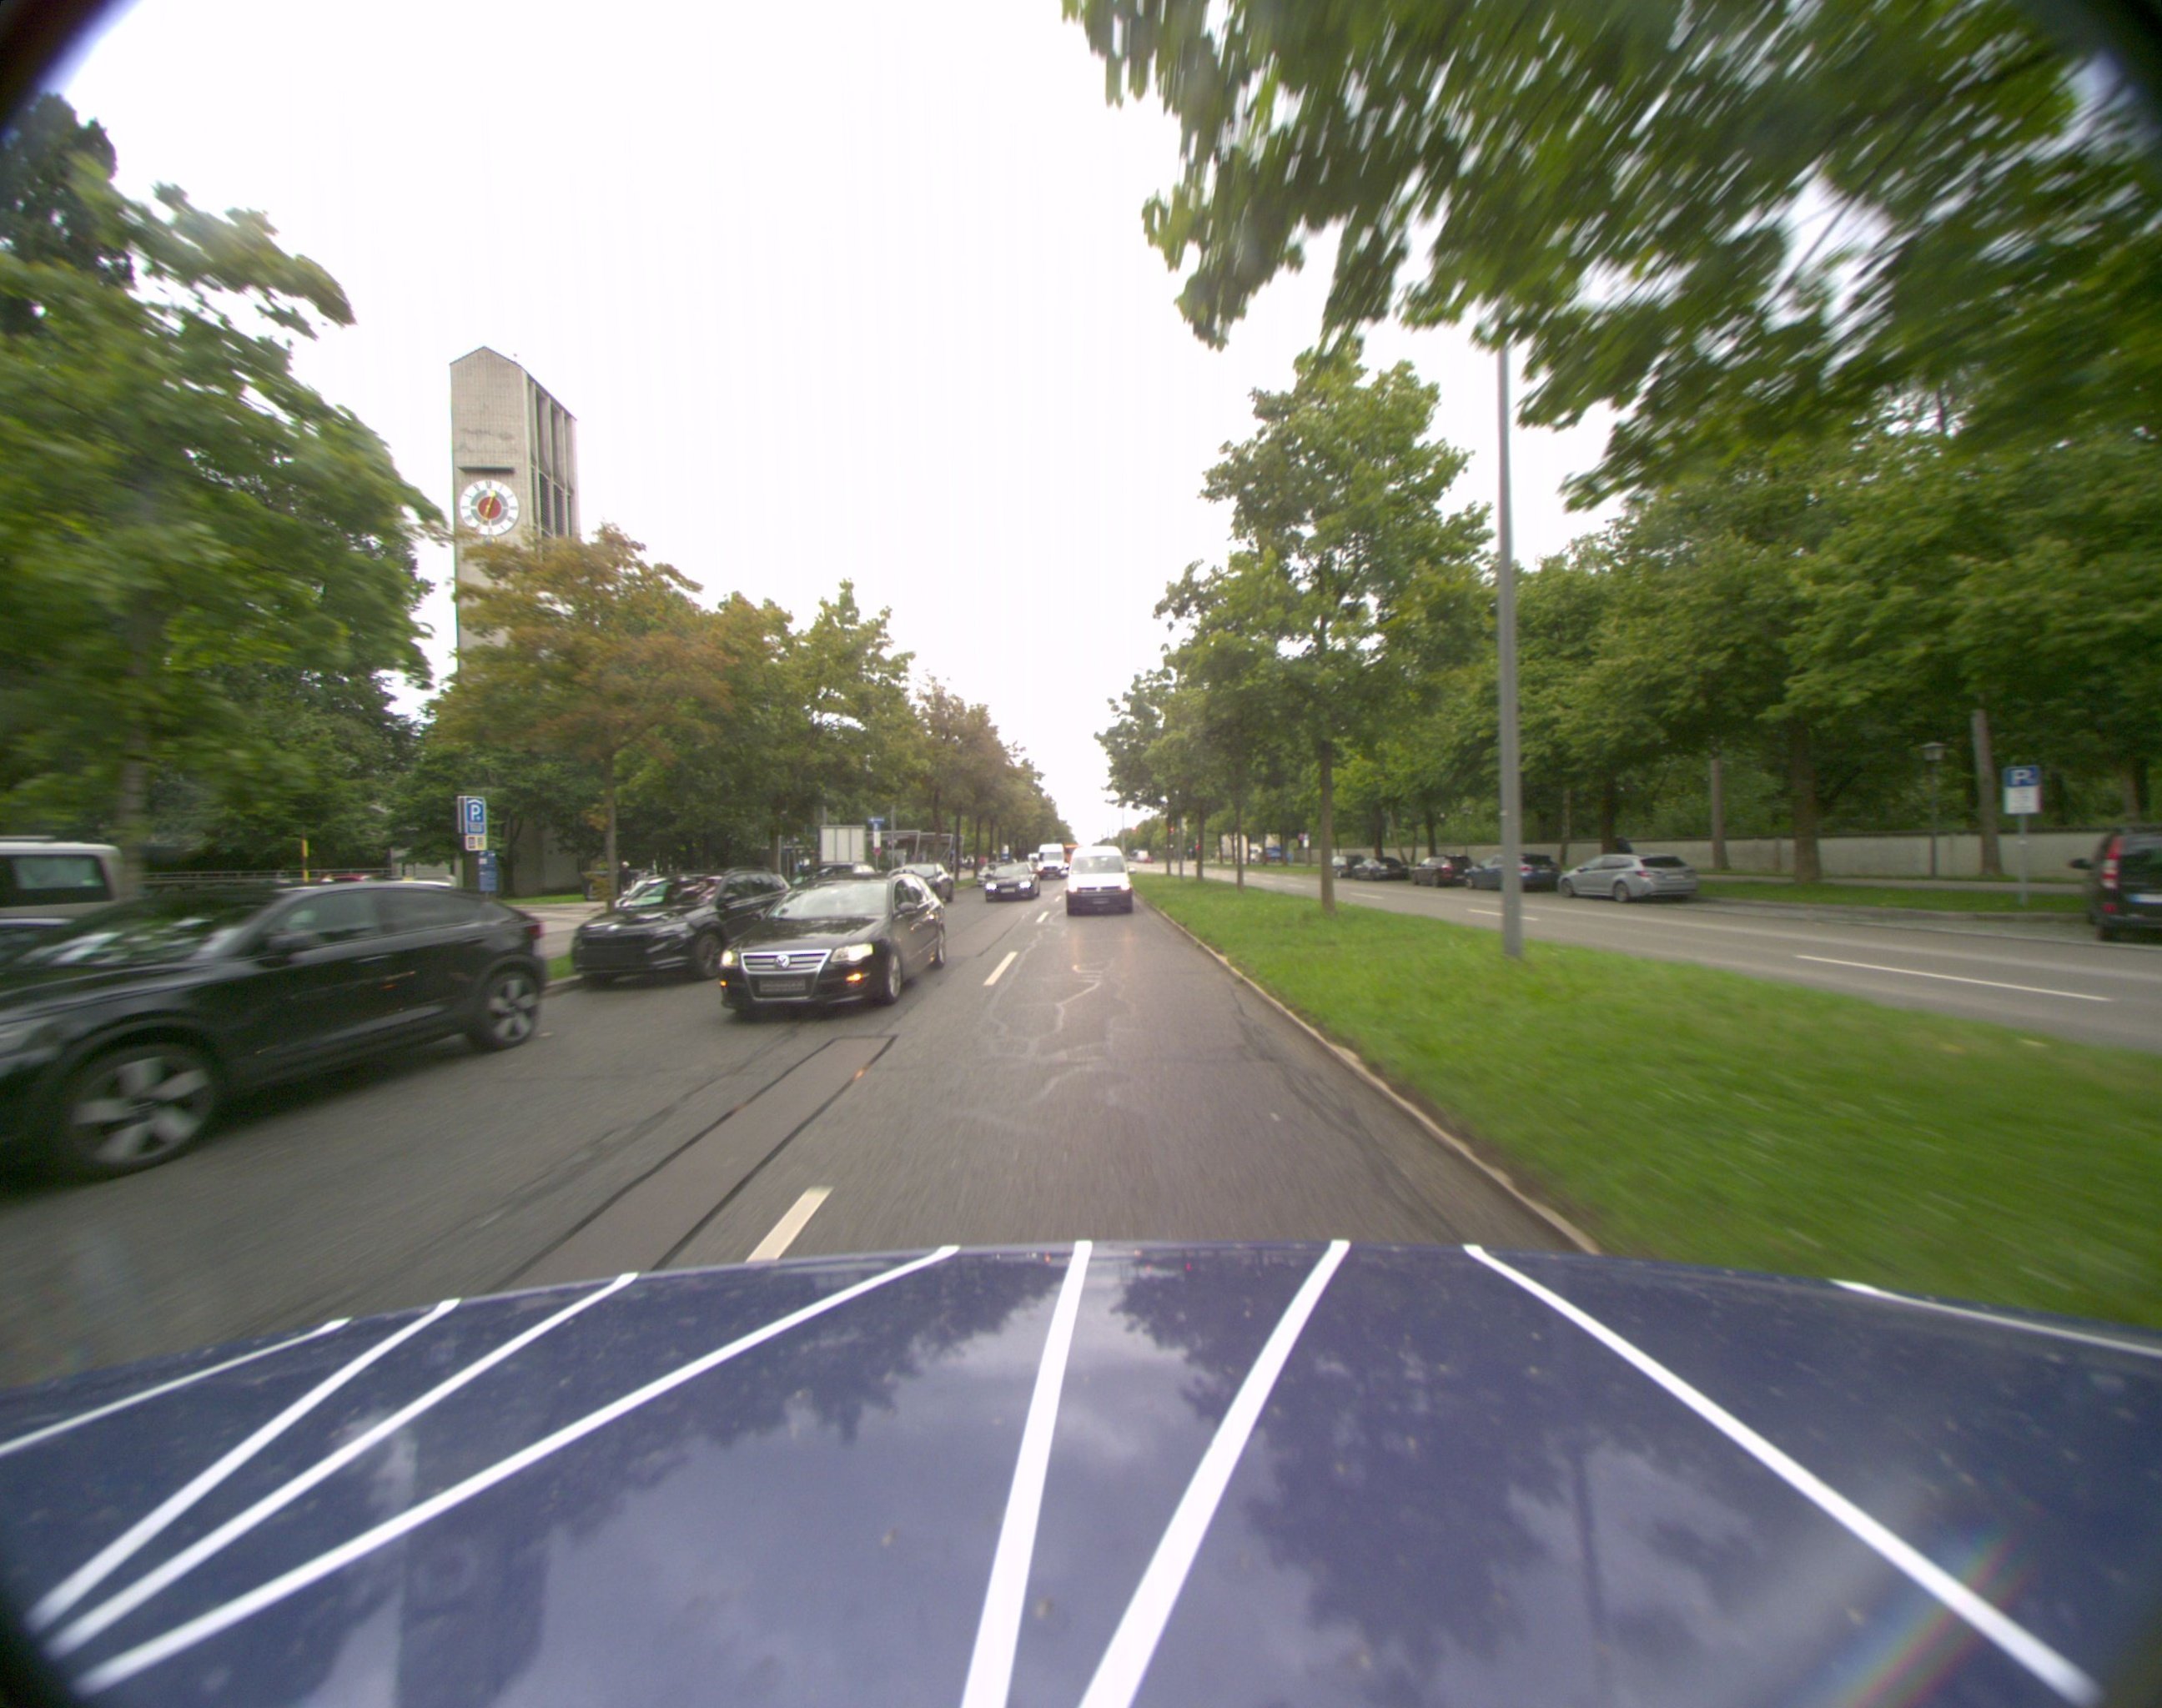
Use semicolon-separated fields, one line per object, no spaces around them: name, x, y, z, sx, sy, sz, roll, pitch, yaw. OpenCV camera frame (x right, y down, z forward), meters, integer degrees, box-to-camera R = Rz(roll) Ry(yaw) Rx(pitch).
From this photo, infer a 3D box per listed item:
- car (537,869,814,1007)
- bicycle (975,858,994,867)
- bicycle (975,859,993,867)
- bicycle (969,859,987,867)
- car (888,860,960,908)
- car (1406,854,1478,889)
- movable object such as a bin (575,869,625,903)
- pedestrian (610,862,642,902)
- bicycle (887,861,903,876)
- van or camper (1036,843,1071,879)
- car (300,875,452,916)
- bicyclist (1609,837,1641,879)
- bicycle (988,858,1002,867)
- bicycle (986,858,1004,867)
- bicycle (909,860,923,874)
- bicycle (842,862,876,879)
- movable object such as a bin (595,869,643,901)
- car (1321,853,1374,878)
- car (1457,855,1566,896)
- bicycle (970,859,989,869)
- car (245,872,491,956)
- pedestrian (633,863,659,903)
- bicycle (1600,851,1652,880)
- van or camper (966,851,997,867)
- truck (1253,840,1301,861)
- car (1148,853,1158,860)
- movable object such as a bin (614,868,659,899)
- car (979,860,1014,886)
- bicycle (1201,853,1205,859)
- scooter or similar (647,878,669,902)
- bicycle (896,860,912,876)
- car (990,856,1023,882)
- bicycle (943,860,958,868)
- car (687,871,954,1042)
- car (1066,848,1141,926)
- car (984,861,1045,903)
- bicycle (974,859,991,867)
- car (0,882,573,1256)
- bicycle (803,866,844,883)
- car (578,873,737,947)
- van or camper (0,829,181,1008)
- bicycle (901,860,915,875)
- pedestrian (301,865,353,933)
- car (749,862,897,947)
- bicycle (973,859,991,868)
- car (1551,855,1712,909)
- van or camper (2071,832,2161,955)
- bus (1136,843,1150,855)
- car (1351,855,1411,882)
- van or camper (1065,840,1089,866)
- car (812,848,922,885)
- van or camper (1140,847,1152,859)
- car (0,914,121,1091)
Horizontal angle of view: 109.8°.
car;-5.969;1.120;11.912;1.726;1.642;4.390;-1;0;4
bicycle;-12.969;1.198;102.188;2.344;1.151;0.529;1;0;1
bicycle;-13.078;1.213;102.740;2.344;1.151;0.529;1;0;1
bicycle;-14.315;1.257;105.576;2.344;1.151;0.585;1;0;1
car;-5.778;1.062;28.484;1.766;1.580;4.452;-1;0;0
car;16.825;0.765;35.619;1.574;1.494;4.305;-3;0;5
movable object such as a bin;-21.271;1.406;33.648;1.339;1.401;1.314;-1;0;-1
pedestrian;-20.020;1.231;33.466;0.830;1.711;0.940;1;1;1
bicycle;-15.715;1.209;64.403;0.646;1.273;2.550;-1;0;1
van or camper;-1.992;0.522;57.778;2.183;2.546;7.075;-1;0;1
car;-23.159;1.356;25.049;3.450;1.145;1.561;-2;0;-3
bicyclist;22.902;0.171;31.996;0.707;1.736;0.922;-1;1;1
bicycle;-12.638;1.249;111.911;1.946;1.205;0.567;0;1;-10
bicycle;-11.911;1.212;105.149;2.344;1.151;0.585;1;0;1
bicycle;-15.183;1.198;69.858;0.646;1.273;2.550;-1;0;1
bicycle;-17.691;1.282;60.604;2.548;1.273;0.647;-1;1;1
movable object such as a bin;-21.267;1.404;34.998;1.339;1.401;1.314;-1;0;-1
car;17.425;0.688;49.889;1.803;1.481;4.915;-3;0;1
car;16.944;0.790;30.212;1.590;1.450;4.799;-3;0;0
bicycle;-13.233;1.291;98.784;2.344;1.151;0.529;1;0;1
car;-16.652;1.316;18.099;1.998;1.641;4.000;-1;0;1
pedestrian;-18.869;1.240;32.998;0.540;1.711;0.988;1;1;1
bicycle;22.905;0.463;31.974;0.715;1.154;2.116;-1;0;1
van or camper;-15.238;0.781;116.859;2.144;2.283;6.207;-1;0;19
truck;35.033;-0.630;136.111;7.816;3.468;2.772;-1;0;2
car;14.986;0.450;157.568;1.747;1.443;4.658;1;0;1
movable object such as a bin;-21.255;1.404;36.346;1.339;1.401;1.314;-1;0;-1
car;-5.245;1.158;47.700;1.657;1.425;4.483;-1;0;0
bicycle;25.584;0.428;159.124;0.546;1.174;1.826;-1;0;0
scooter or similar;-18.866;1.612;33.911;0.501;1.012;0.833;1;1;1
bicycle;-14.996;1.194;64.362;0.646;1.273;2.550;-1;0;1
car;-5.195;1.037;53.682;1.791;1.665;4.595;-1;0;0
bicycle;-19.865;1.564;115.676;0.716;1.147;2.133;-1;0;41
car;-2.881;1.039;9.613;1.752;1.466;4.671;-2;0;0
car;0.518;0.783;20.420;1.752;1.808;4.671;-1;0;0
car;-2.548;1.041;30.230;1.819;1.421;4.671;-3;0;1
bicycle;-13.763;1.250;106.217;2.344;1.151;0.585;1;0;1
car;-6.064;1.131;5.448;1.769;1.642;4.424;-2;0;1
bicycle;-17.568;1.396;51.764;2.548;1.082;0.647;-1;1;1
car;-10.428;1.312;19.095;1.768;1.479;3.999;-3;0;-2
van or camper;-16.404;0.941;9.954;1.998;2.543;5.957;-1;0;1
bicycle;-15.857;1.225;69.772;0.646;1.273;2.550;-1;0;1
pedestrian;-19.875;1.174;20.038;0.576;1.741;0.732;-1;1;6
car;-6.029;1.088;18.431;1.766;1.691;4.820;-1;0;2
bicycle;-12.977;1.280;99.693;2.346;1.151;0.529;1;0;-7
car;16.844;0.795;23.600;1.640;1.430;4.809;-3;0;2
van or camper;17.997;0.562;12.566;4.133;1.844;1.845;-1;0;-39
bus;17.232;-1.364;211.575;2.752;3.324;12.048;0;0;0
car;17.227;0.795;43.877;1.663;1.387;4.707;-3;0;1
van or camper;-0.490;-0.147;97.584;2.780;3.219;7.075;-1;0;1
car;-10.306;0.586;36.903;1.968;1.615;4.856;-2;0;39
van or camper;14.575;-0.222;171.333;2.183;2.631;6.951;1;0;2
car;-10.225;1.337;5.376;1.752;1.470;4.009;-1;0;0
